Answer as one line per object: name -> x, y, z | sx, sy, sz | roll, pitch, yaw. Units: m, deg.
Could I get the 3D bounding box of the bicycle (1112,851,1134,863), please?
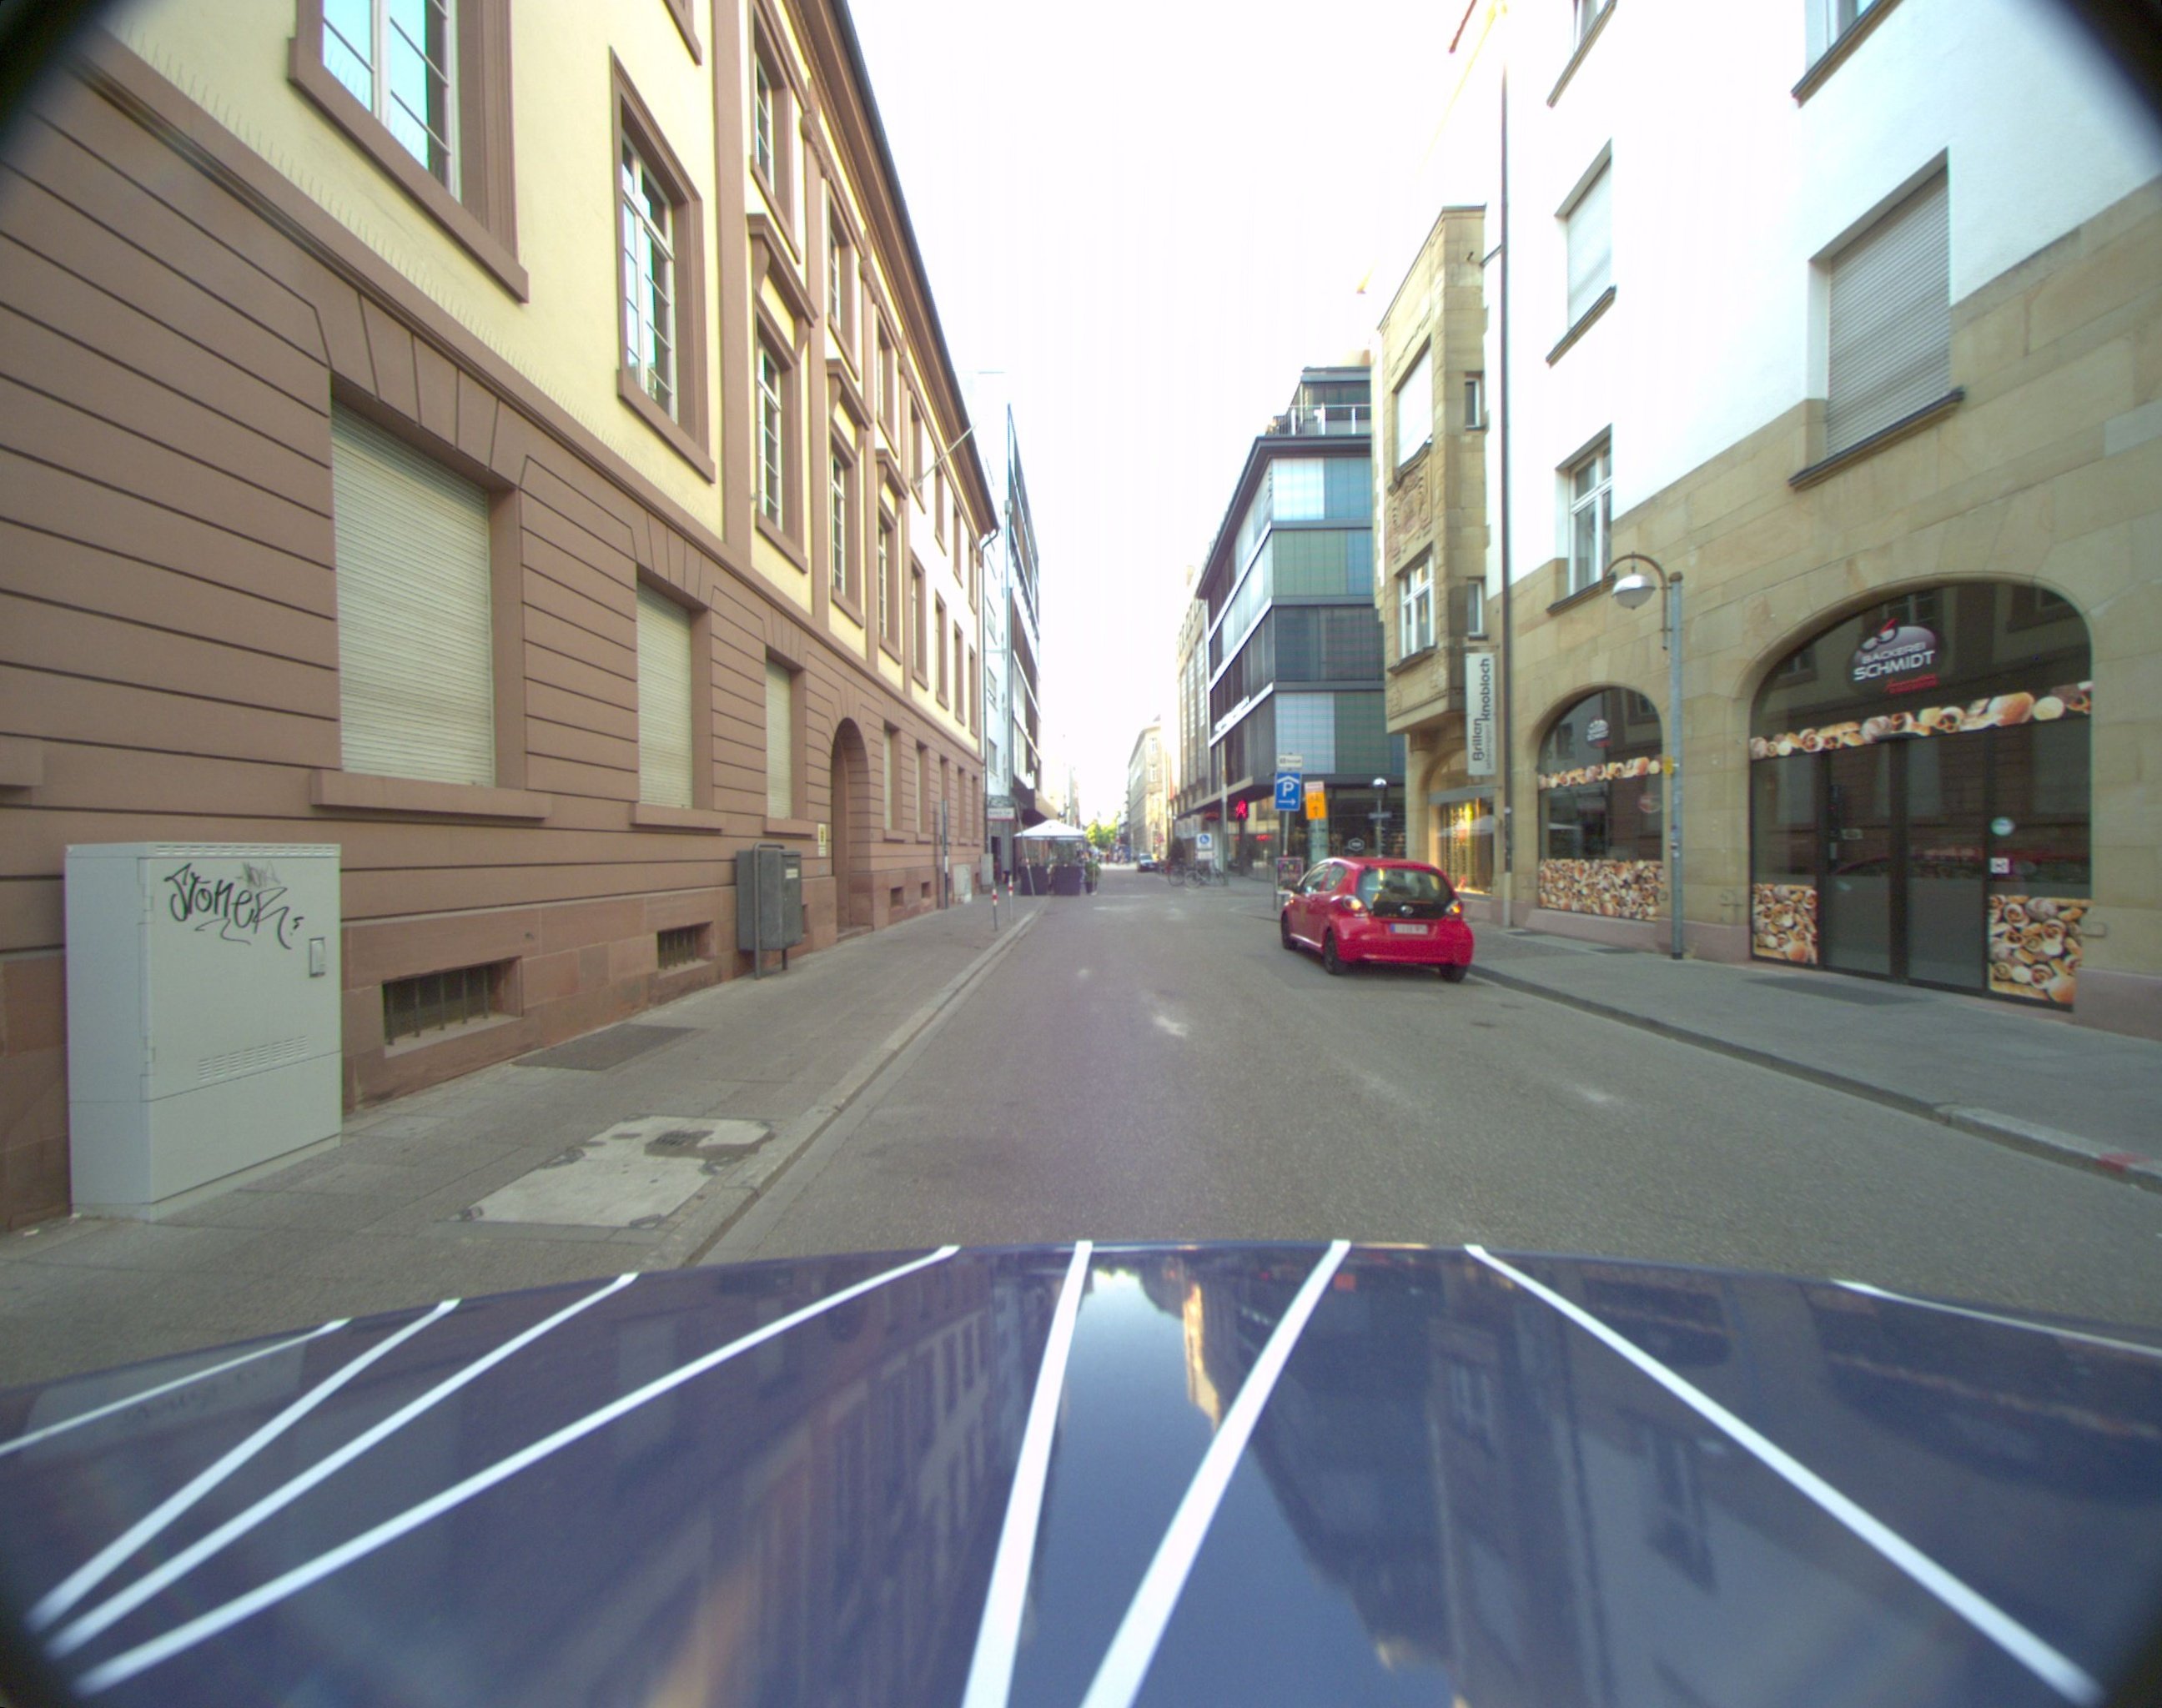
bicycle -> 4.622, 0.342, 83.301 | 2.341, 1.182, 0.517 | -2, 1, -15

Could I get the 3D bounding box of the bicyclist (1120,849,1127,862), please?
bicyclist -> 4.622, 0.119, 83.291 | 0.582, 1.393, 0.517 | -2, 1, -15

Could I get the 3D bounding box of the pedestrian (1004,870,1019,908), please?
pedestrian -> -3.225, 1.620, 35.249 | 0.640, 1.762, 0.602 | -1, 1, -4

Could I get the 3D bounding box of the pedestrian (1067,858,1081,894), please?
pedestrian -> -0.239, 0.756, 26.199 | 0.400, 1.206, 0.383 | -1, 1, -8

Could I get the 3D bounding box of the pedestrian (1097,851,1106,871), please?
pedestrian -> 2.120, 0.712, 78.974 | 0.804, 2.002, 0.878 | -1, 1, -6

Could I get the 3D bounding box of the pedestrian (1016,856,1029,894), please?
pedestrian -> -2.034, 0.733, 26.303 | 0.363, 1.298, 0.494 | -1, 1, -13

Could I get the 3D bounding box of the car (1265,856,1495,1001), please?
car -> 3.829, 0.841, 10.504 | 1.661, 1.461, 3.932 | 3, 1, 2

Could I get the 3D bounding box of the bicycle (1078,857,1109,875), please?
bicycle -> 0.839, 0.799, 51.363 | 2.038, 1.161, 0.665 | 2, 1, 0

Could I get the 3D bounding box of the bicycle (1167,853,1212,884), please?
bicycle -> 4.965, 0.645, 34.883 | 1.902, 1.262, 0.538 | -5, 1, 2

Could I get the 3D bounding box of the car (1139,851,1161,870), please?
car -> 5.365, 0.506, 59.177 | 1.602, 1.415, 3.605 | -1, 0, 5

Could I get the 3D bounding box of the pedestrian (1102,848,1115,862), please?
pedestrian -> 3.063, 0.124, 84.157 | 0.917, 1.563, 0.995 | 0, 1, 45

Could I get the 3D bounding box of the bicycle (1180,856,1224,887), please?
bicycle -> 4.862, 0.700, 30.628 | 1.669, 1.197, 0.509 | -3, 1, 0

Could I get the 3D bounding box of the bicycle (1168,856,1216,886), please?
bicycle -> 4.679, 0.724, 32.145 | 1.902, 1.174, 0.517 | -3, -1, 0

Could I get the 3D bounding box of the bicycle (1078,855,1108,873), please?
bicycle -> 0.863, 0.695, 52.959 | 2.038, 1.161, 0.619 | 2, 1, 0
